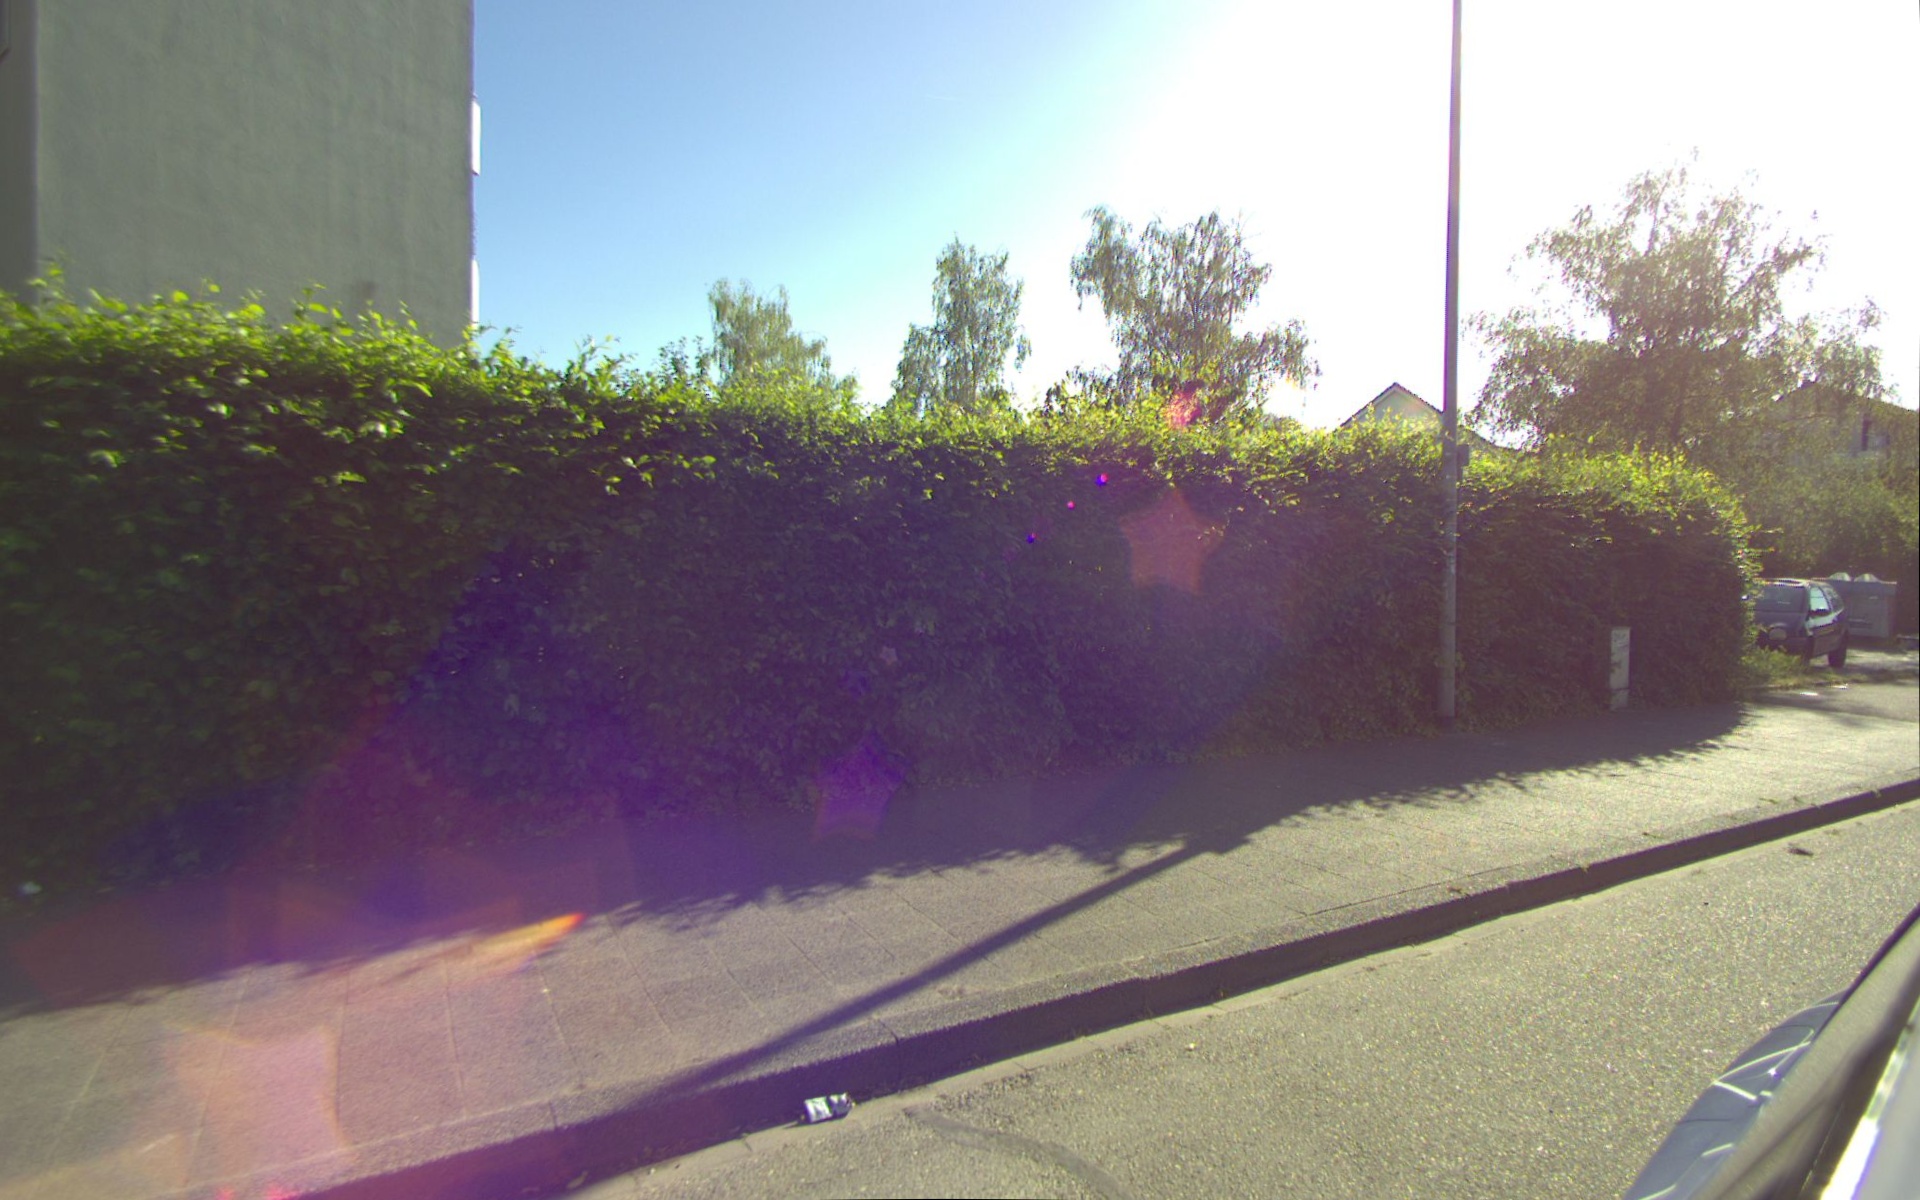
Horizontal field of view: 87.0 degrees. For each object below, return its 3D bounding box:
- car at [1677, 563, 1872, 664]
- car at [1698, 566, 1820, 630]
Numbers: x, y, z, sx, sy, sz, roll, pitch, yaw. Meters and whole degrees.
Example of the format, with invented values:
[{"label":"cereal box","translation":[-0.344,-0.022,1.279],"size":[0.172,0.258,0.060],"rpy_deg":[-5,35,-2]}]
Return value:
[{"label":"car","translation":[13.665,0.181,16.931],"size":[3.468,1.484,1.704],"rpy_deg":[0,3,-37]},{"label":"car","translation":[19.824,-0.048,25.061],"size":[3.994,1.456,1.632],"rpy_deg":[1,1,-41]}]
